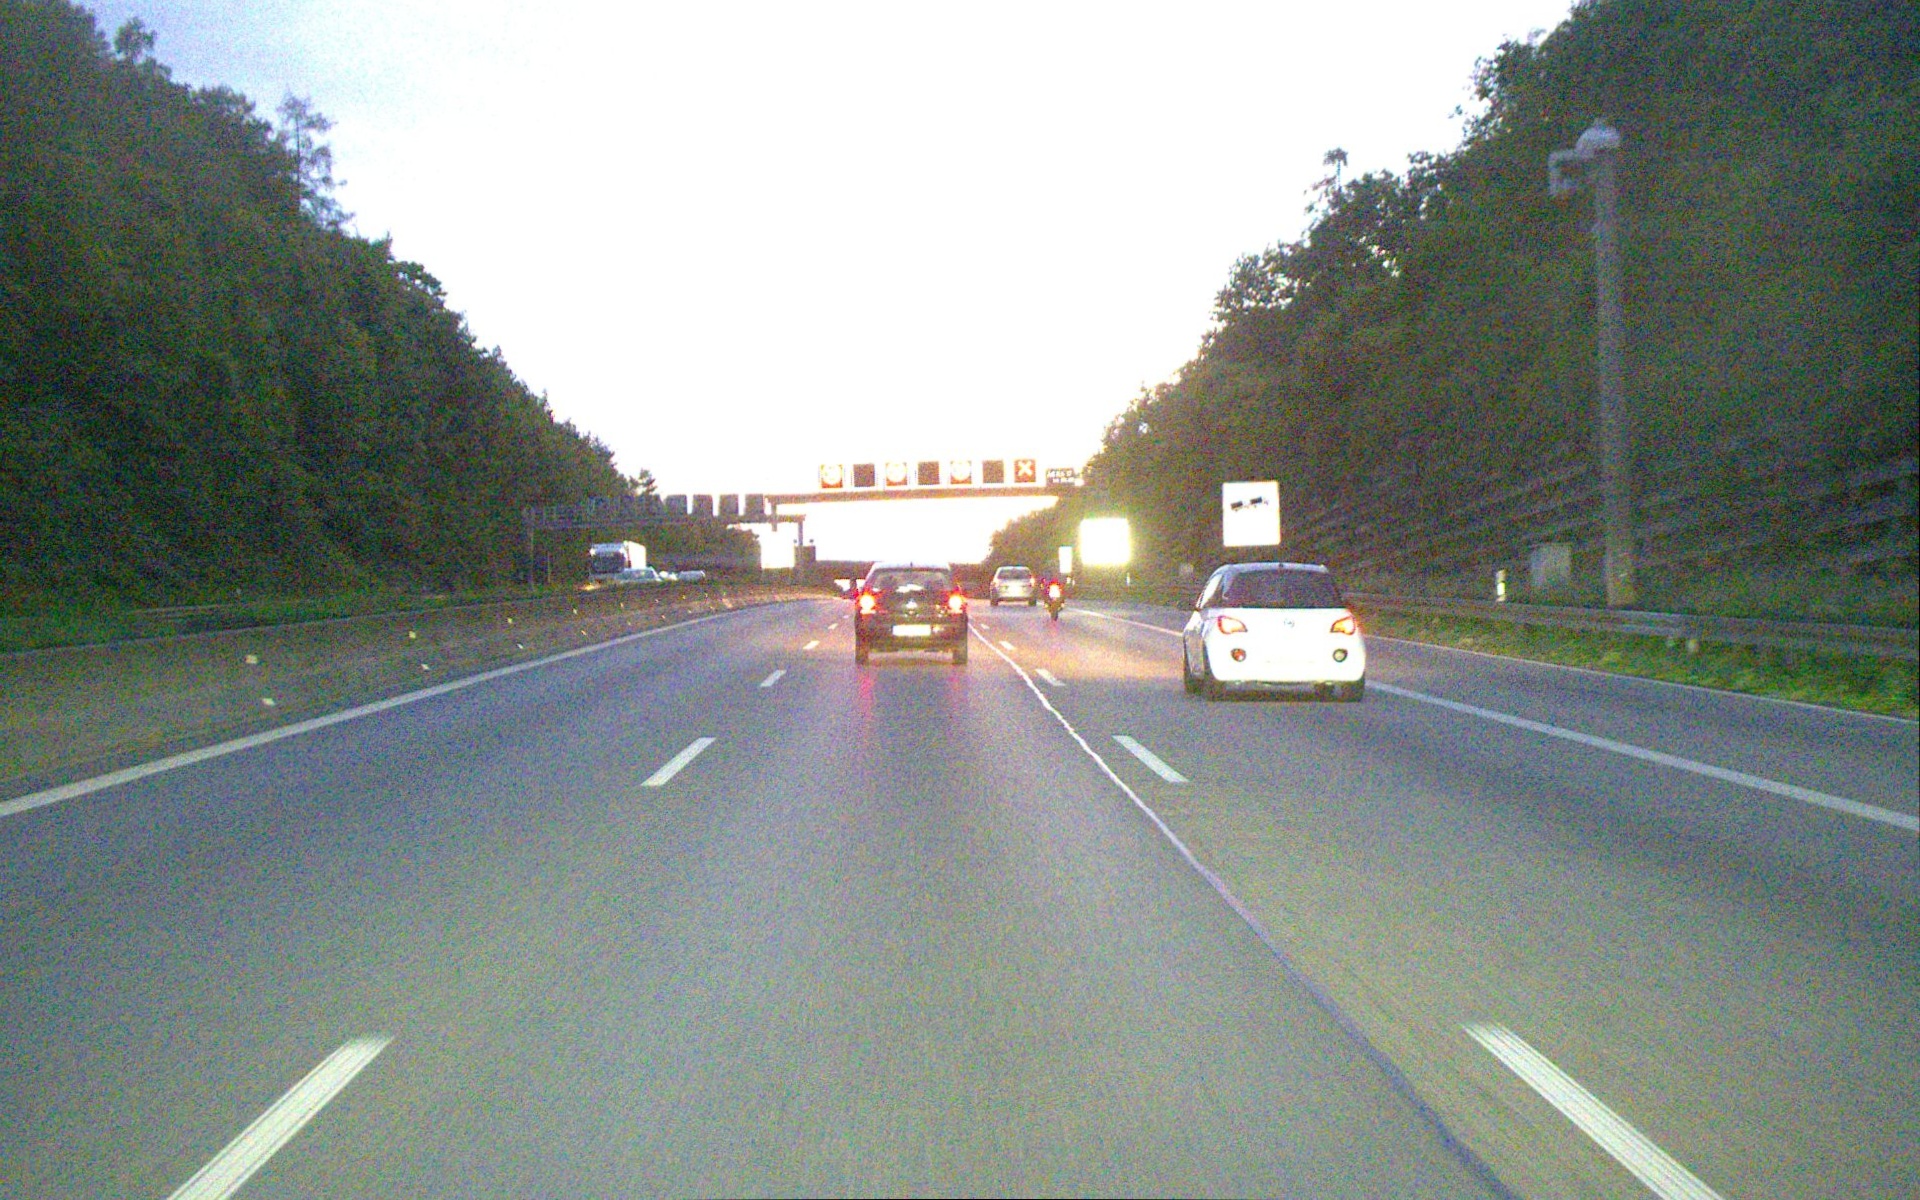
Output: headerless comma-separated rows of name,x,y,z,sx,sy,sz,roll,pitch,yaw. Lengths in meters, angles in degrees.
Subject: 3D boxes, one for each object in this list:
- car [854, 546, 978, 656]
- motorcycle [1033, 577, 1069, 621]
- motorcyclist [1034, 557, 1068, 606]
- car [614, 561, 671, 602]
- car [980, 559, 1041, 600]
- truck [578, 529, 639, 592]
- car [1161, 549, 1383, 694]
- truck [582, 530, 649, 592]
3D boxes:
car,-0.642,0.033,50.019,1.704,1.504,4.232,1,-1,-1
motorcycle,2.386,-0.014,90.330,0.829,1.130,2.476,-1,0,-1
motorcyclist,2.379,-0.485,90.262,0.829,1.287,1.190,-1,0,-1
car,-13.185,-0.796,143.154,1.917,1.607,5.159,-1,1,-1
car,1.921,-0.773,132.341,1.865,1.489,4.399,1,-1,-5
truck,-22.674,-2.555,222.146,3.380,3.990,6.880,-1,0,-2
car,3.358,0.243,37.719,1.825,1.471,4.399,1,-1,-3
truck,-22.914,-2.589,229.125,3.356,3.990,14.498,-1,1,-2
